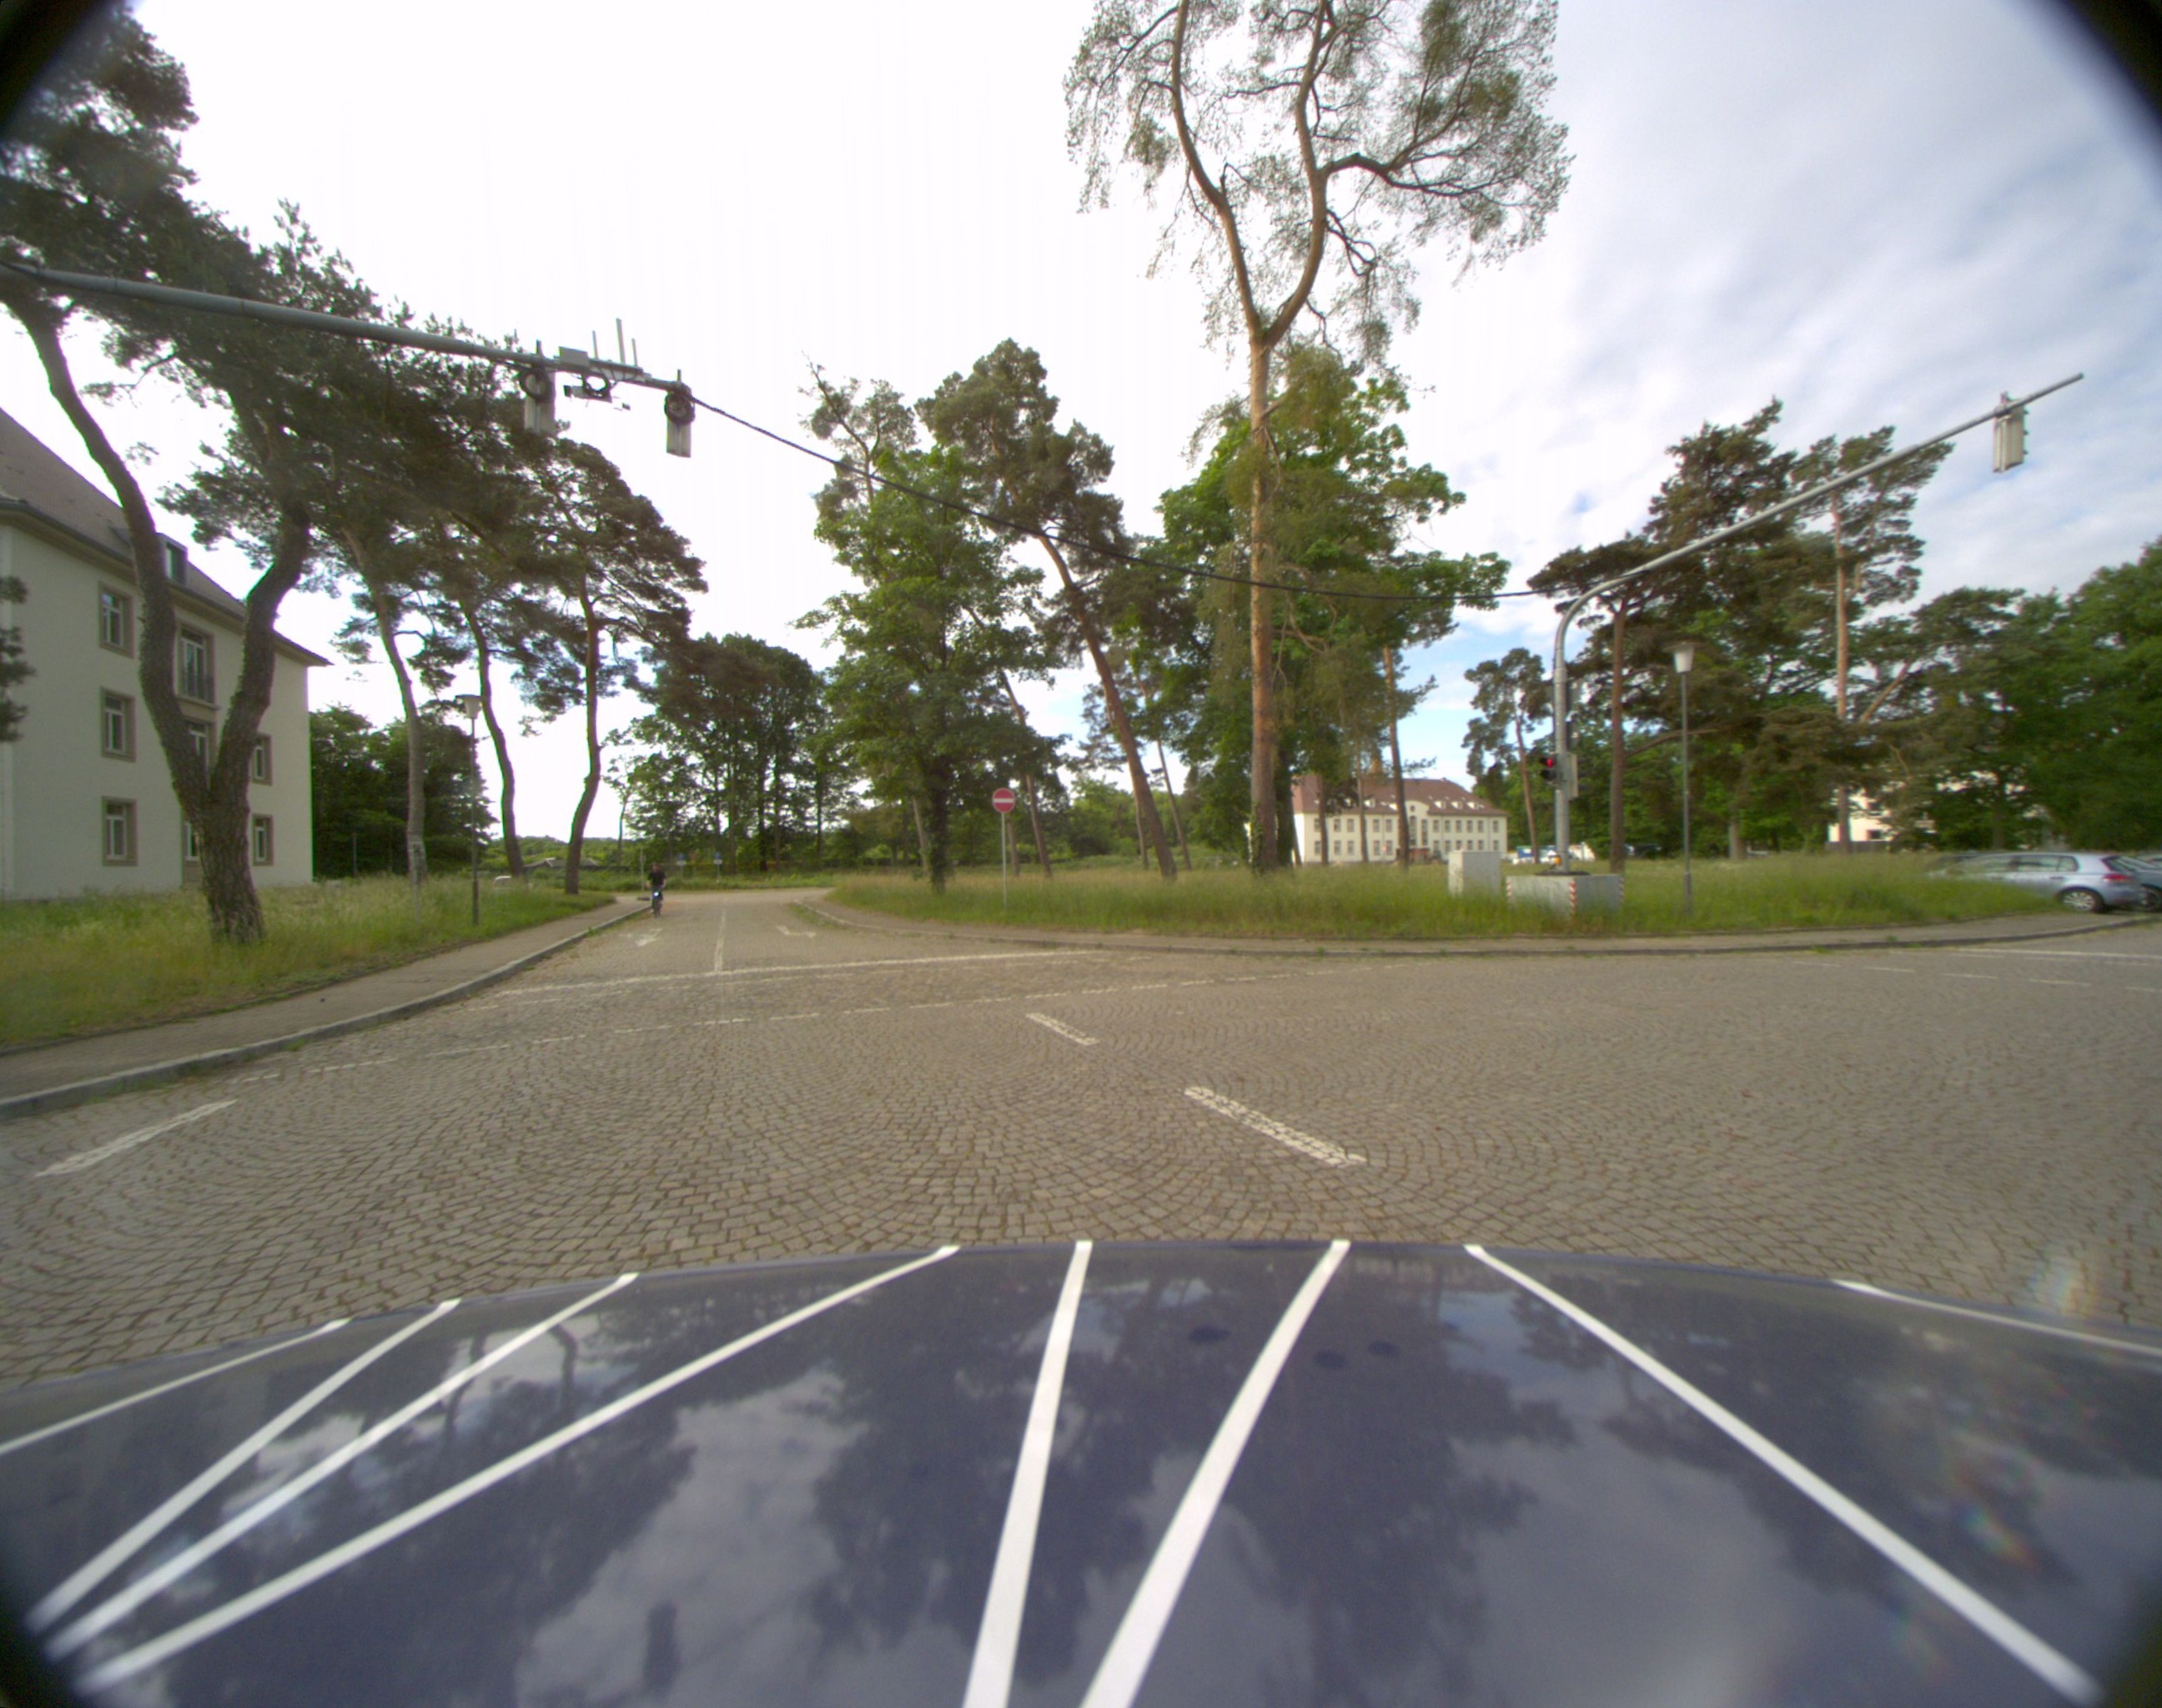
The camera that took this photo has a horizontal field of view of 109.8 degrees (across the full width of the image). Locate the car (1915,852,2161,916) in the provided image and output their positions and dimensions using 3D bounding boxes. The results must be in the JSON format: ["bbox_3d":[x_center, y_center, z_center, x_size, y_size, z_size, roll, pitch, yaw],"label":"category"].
[{"bbox_3d":[25.682,0.783,20.059,1.844,1.512,4.576,-1,-2,-27],"label":"car"}]

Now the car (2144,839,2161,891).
[{"bbox_3d":[44.923,0.325,28.876,1.843,2.084,4.973,-1,-2,-26],"label":"car"}]

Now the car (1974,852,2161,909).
[{"bbox_3d":[30.169,0.772,22.439,1.844,1.549,4.576,-1,-2,-27],"label":"car"}]

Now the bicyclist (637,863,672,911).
[{"bbox_3d":[-15.063,1.151,26.848,0.965,1.625,0.916,-1,0,-23],"label":"bicyclist"}]

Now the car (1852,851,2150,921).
[{"bbox_3d":[23.039,0.811,19.268,1.844,1.537,4.575,-1,-2,-33],"label":"car"}]

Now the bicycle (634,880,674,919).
[{"bbox_3d":[-15.061,1.578,26.848,0.965,1.268,2.159,-1,0,-23],"label":"bicycle"}]

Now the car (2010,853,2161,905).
[{"bbox_3d":[32.352,0.763,23.287,1.844,1.512,4.576,-1,-2,-27],"label":"car"}]

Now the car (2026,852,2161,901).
[{"bbox_3d":[34.601,0.722,24.681,1.844,1.512,4.576,-1,-2,-27],"label":"car"}]

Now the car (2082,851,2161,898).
[{"bbox_3d":[37.346,0.662,25.301,1.844,1.549,4.576,-1,-2,-27],"label":"car"}]

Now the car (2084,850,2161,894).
[{"bbox_3d":[39.829,0.627,27.129,1.844,1.564,4.576,-1,-2,-27],"label":"car"}]

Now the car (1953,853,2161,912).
[{"bbox_3d":[28.097,0.778,21.205,1.844,1.512,4.576,-1,-2,-27],"label":"car"}]
